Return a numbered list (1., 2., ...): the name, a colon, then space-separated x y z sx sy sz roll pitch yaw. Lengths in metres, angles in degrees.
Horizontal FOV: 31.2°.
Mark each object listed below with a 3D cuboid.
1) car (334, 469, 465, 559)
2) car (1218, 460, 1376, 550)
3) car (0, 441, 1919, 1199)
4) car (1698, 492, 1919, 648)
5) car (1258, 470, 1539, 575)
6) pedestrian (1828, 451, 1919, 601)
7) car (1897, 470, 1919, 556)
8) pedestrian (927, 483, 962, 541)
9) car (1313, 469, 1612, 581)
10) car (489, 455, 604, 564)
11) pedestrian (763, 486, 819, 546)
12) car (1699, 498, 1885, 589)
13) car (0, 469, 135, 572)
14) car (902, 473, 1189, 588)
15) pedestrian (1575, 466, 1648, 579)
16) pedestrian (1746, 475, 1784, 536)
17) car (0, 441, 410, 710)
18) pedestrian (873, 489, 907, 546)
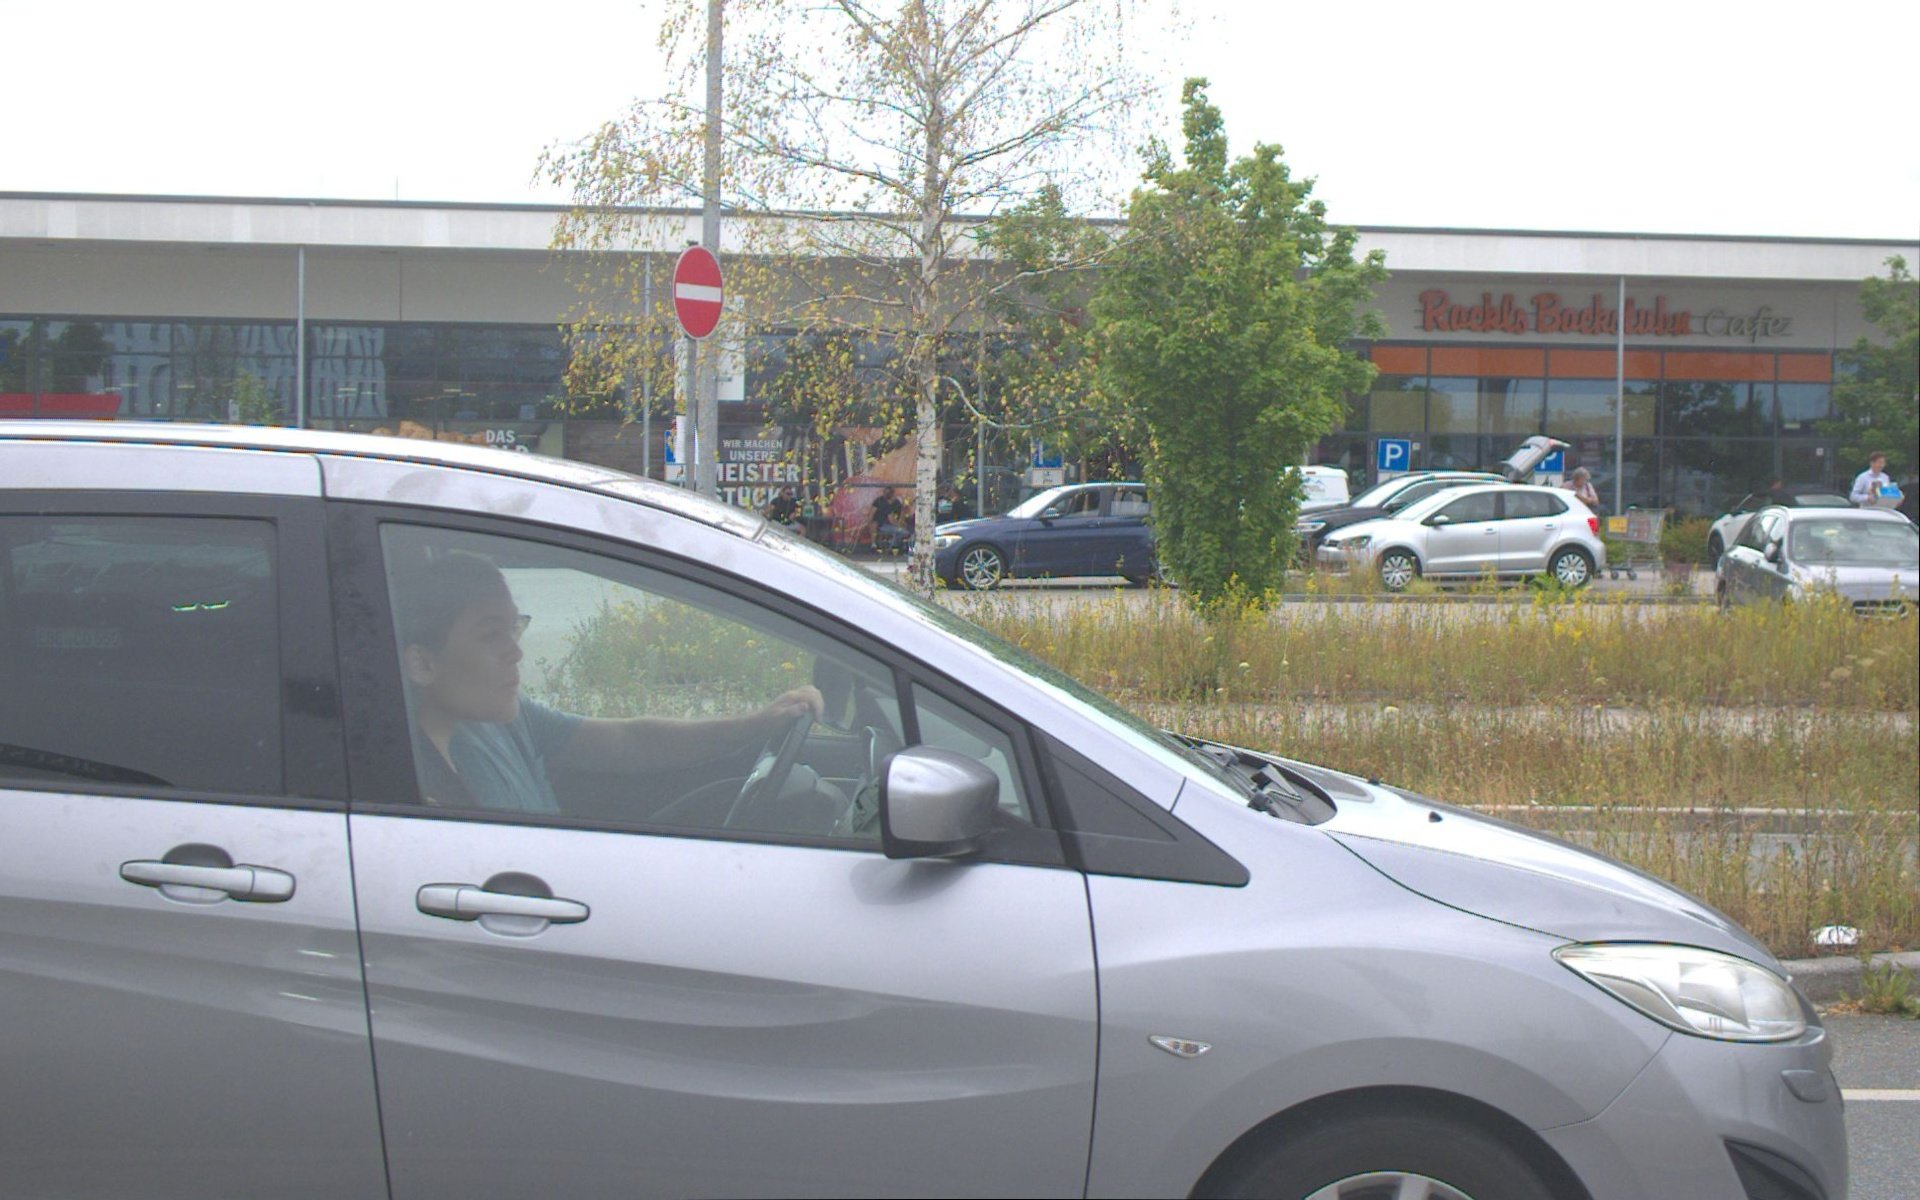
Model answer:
1. car: -9.433 -1.481 58.108 1.906 1.439 4.001 1 2 -5
2. car: 5.921 -1.706 60.791 1.993 1.503 4.001 1 2 -6
3. car: -0.822 0.541 5.771 4.386 1.557 1.822 0 4 -5
4. car: 8.557 -0.326 33.031 1.988 1.379 4.150 1 2 0
5. car: 6.399 -1.143 50.338 3.746 1.449 1.668 1 2 -8
6. pedestrian: 12.545 -1.018 47.001 0.864 2.006 1.004 0 2 -17
7. car: 18.843 -1.508 60.618 3.986 1.502 2.001 1 2 -6
8. pedestrian: -0.311 -1.734 67.524 0.576 1.120 0.562 0 2 -11
9. car: 6.908 -1.042 47.445 3.746 1.449 1.668 1 2 -8
10. car: -7.003 -1.580 58.571 1.824 1.694 4.235 1 3 -5
11. pedestrian: -3.372 -1.680 68.538 0.970 1.150 1.133 0 2 -9
12. car: 14.925 -1.046 61.901 1.993 1.502 4.001 1 3 -6
13. car: -13.313 -1.114 46.671 3.986 1.347 2.001 1 2 -10
14. car: 1.126 -0.944 46.311 3.606 1.449 1.668 1 2 -9
15. pedestrian: 9.578 -1.143 50.574 0.821 1.626 0.899 1 2 -3
16. pedestrian: 16.221 -1.906 69.256 0.560 1.197 0.528 1 2 -8
17. car: -4.607 -0.238 21.086 1.779 1.440 4.611 1 3 -1
18. pedestrian: -1.393 -1.637 68.342 0.576 1.120 0.562 0 2 -11
